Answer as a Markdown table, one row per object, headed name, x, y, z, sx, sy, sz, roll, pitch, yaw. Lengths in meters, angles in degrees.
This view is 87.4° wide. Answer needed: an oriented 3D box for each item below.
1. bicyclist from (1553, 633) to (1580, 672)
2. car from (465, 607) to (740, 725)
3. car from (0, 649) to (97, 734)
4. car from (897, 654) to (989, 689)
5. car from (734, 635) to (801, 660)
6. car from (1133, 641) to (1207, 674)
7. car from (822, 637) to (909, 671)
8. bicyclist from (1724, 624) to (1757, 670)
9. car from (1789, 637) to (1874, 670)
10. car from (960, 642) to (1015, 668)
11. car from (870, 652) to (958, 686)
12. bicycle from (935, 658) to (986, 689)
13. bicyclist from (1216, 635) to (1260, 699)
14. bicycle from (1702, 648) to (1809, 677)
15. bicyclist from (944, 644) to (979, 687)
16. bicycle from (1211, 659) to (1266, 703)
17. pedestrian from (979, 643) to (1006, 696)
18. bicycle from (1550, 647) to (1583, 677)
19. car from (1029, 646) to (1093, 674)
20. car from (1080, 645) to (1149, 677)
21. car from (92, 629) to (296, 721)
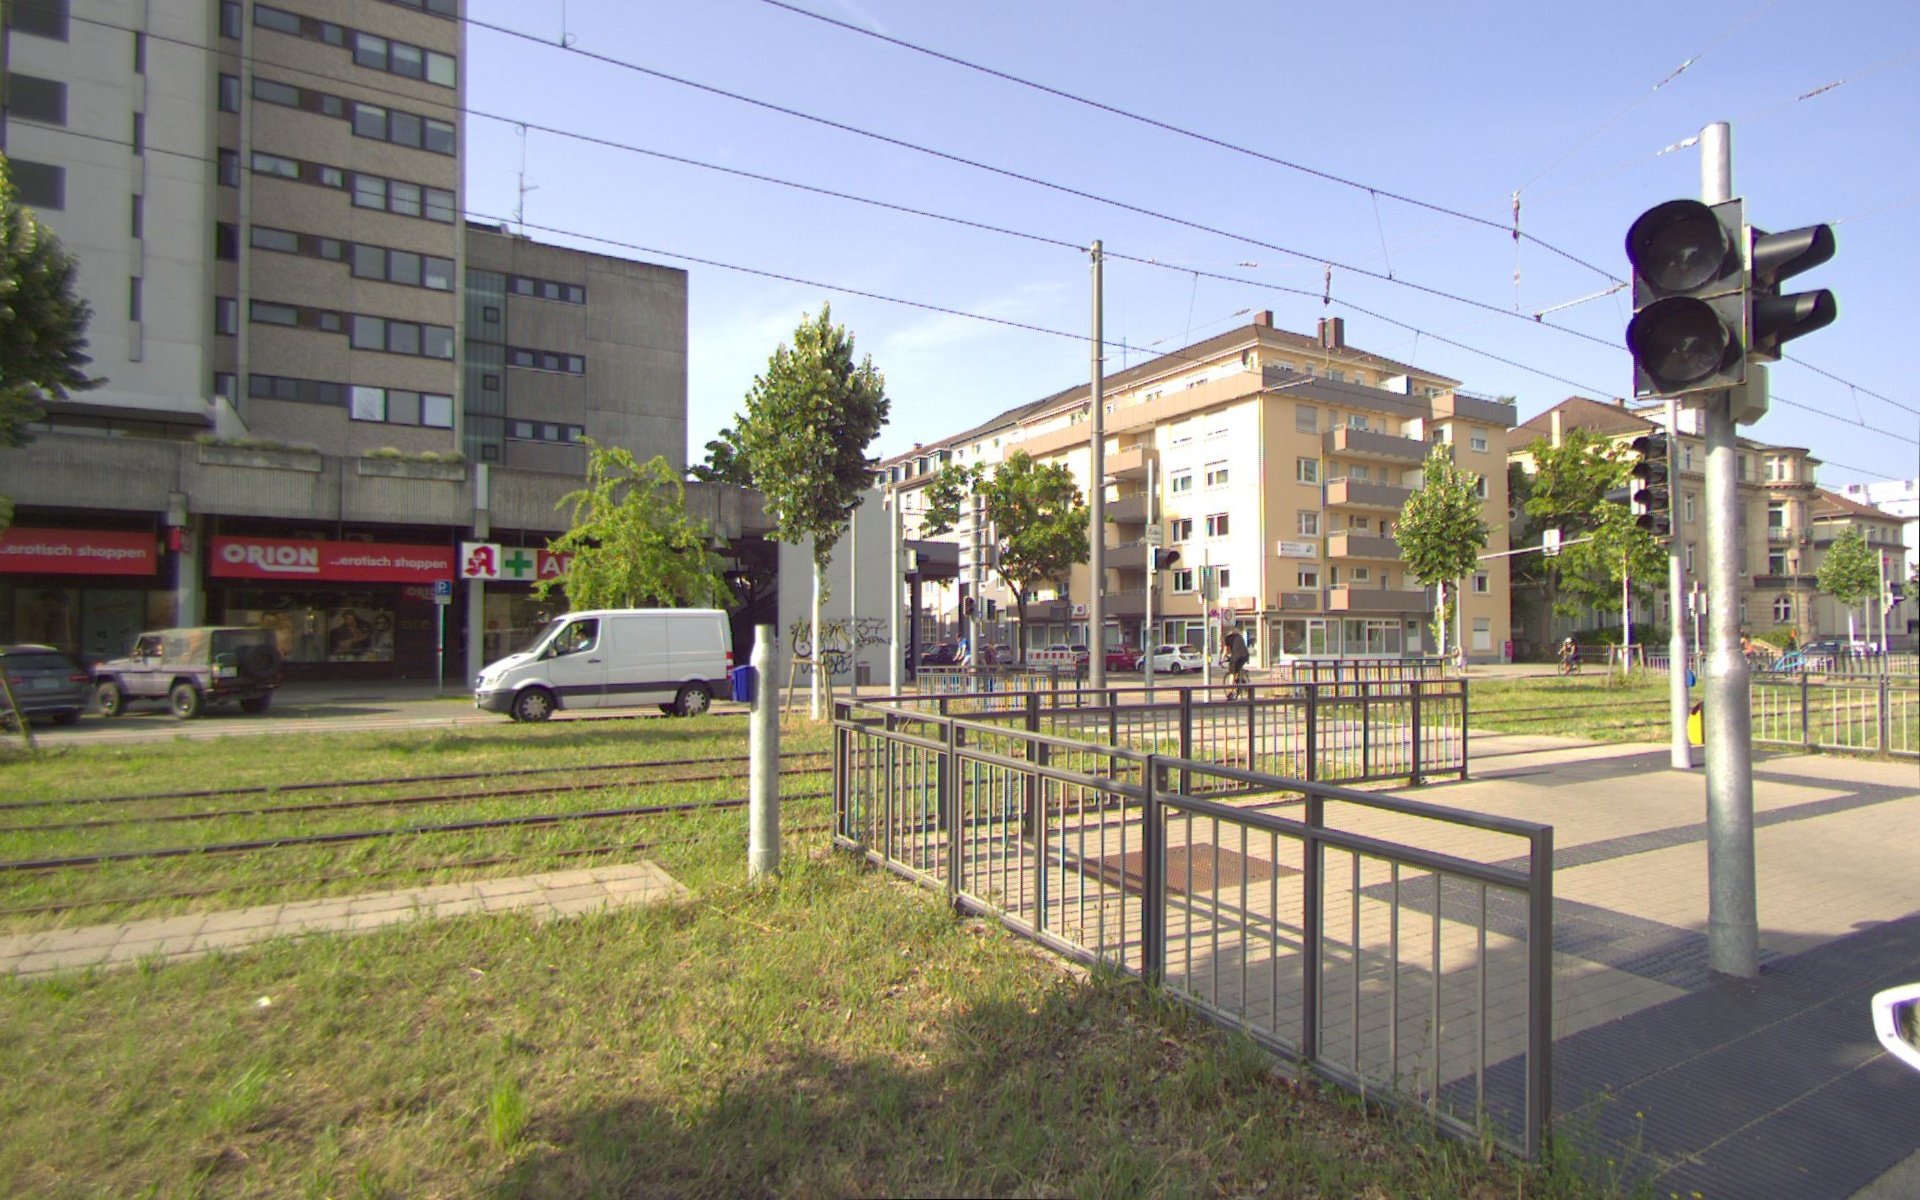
| name | x | y | z | sx | sy | sz | roll | pitch | yaw |
| --- | --- | --- | --- | --- | --- | --- | --- | --- | --- |
| bicyclist | 28.692 | 2.467 | 47.518 | 1.073 | 1.829 | 0.664 | 2 | -3 | -35 |
| car | -7.604 | 1.362 | 21.592 | 5.274 | 2.268 | 2.035 | 1 | -2 | -32 |
| car | -20.277 | 1.841 | 20.829 | 4.031 | 1.627 | 1.879 | -1 | -3 | 21 |
| car | -0.849 | 3.630 | 51.499 | 4.335 | 1.649 | 1.898 | 2 | -1 | -34 |
| car | -14.762 | 3.647 | 77.199 | 4.714 | 1.843 | 1.984 | 1 | -3 | -30 |
| car | 10.891 | 2.974 | 52.229 | 1.691 | 1.604 | 3.602 | -2 | -1 | -33 |
| car | -5.653 | 3.245 | 60.298 | 4.777 | 1.994 | 1.984 | 2 | -3 | -31 |
| bicyclist | 28.382 | 1.709 | 36.519 | 0.878 | 1.650 | 0.889 | -2 | -3 | 36 |
| car | 42.675 | 2.610 | 49.157 | 4.350 | 1.533 | 1.983 | 2 | -3 | -33 |
| car | 1.804 | 3.655 | 67.084 | 1.797 | 1.625 | 3.916 | 1 | -3 | -34 |
| car | -2.423 | 3.618 | 53.344 | 4.335 | 1.649 | 1.898 | 2 | -1 | -34 |
| bicycle | 0.009 | 2.534 | 34.741 | 1.646 | 1.003 | 0.681 | 1 | -2 | -27 |
| bicyclist | 6.361 | 1.533 | 23.014 | 0.536 | 1.413 | 0.973 | -2 | -4 | -9 |
| bicycle | 28.674 | 2.234 | 36.268 | 2.948 | 0.978 | 0.898 | -2 | -3 | 35 |
| bicyclist | 0.051 | 2.256 | 34.789 | 1.011 | 1.459 | 0.681 | 1 | -2 | -27 |
| bicycle | 6.372 | 1.857 | 23.020 | 0.547 | 0.947 | 1.611 | -2 | -5 | -9 |
| pedestrian | 1.051 | 2.257 | 32.704 | 0.637 | 1.712 | 0.656 | 1 | -2 | -27 |
| bicycle | 28.706 | 2.915 | 47.518 | 1.740 | 1.363 | 0.690 | 2 | -3 | -36 |
| car | 6.013 | 3.562 | 60.365 | 1.797 | 1.625 | 3.917 | 1 | -3 | -33 |
| car | 8.586 | 3.367 | 56.139 | 1.755 | 1.711 | 3.766 | 1 | -3 | -33 |
| car | -17.743 | 1.693 | 23.296 | 4.031 | 1.994 | 1.879 | -1 | -2 | 21 |
